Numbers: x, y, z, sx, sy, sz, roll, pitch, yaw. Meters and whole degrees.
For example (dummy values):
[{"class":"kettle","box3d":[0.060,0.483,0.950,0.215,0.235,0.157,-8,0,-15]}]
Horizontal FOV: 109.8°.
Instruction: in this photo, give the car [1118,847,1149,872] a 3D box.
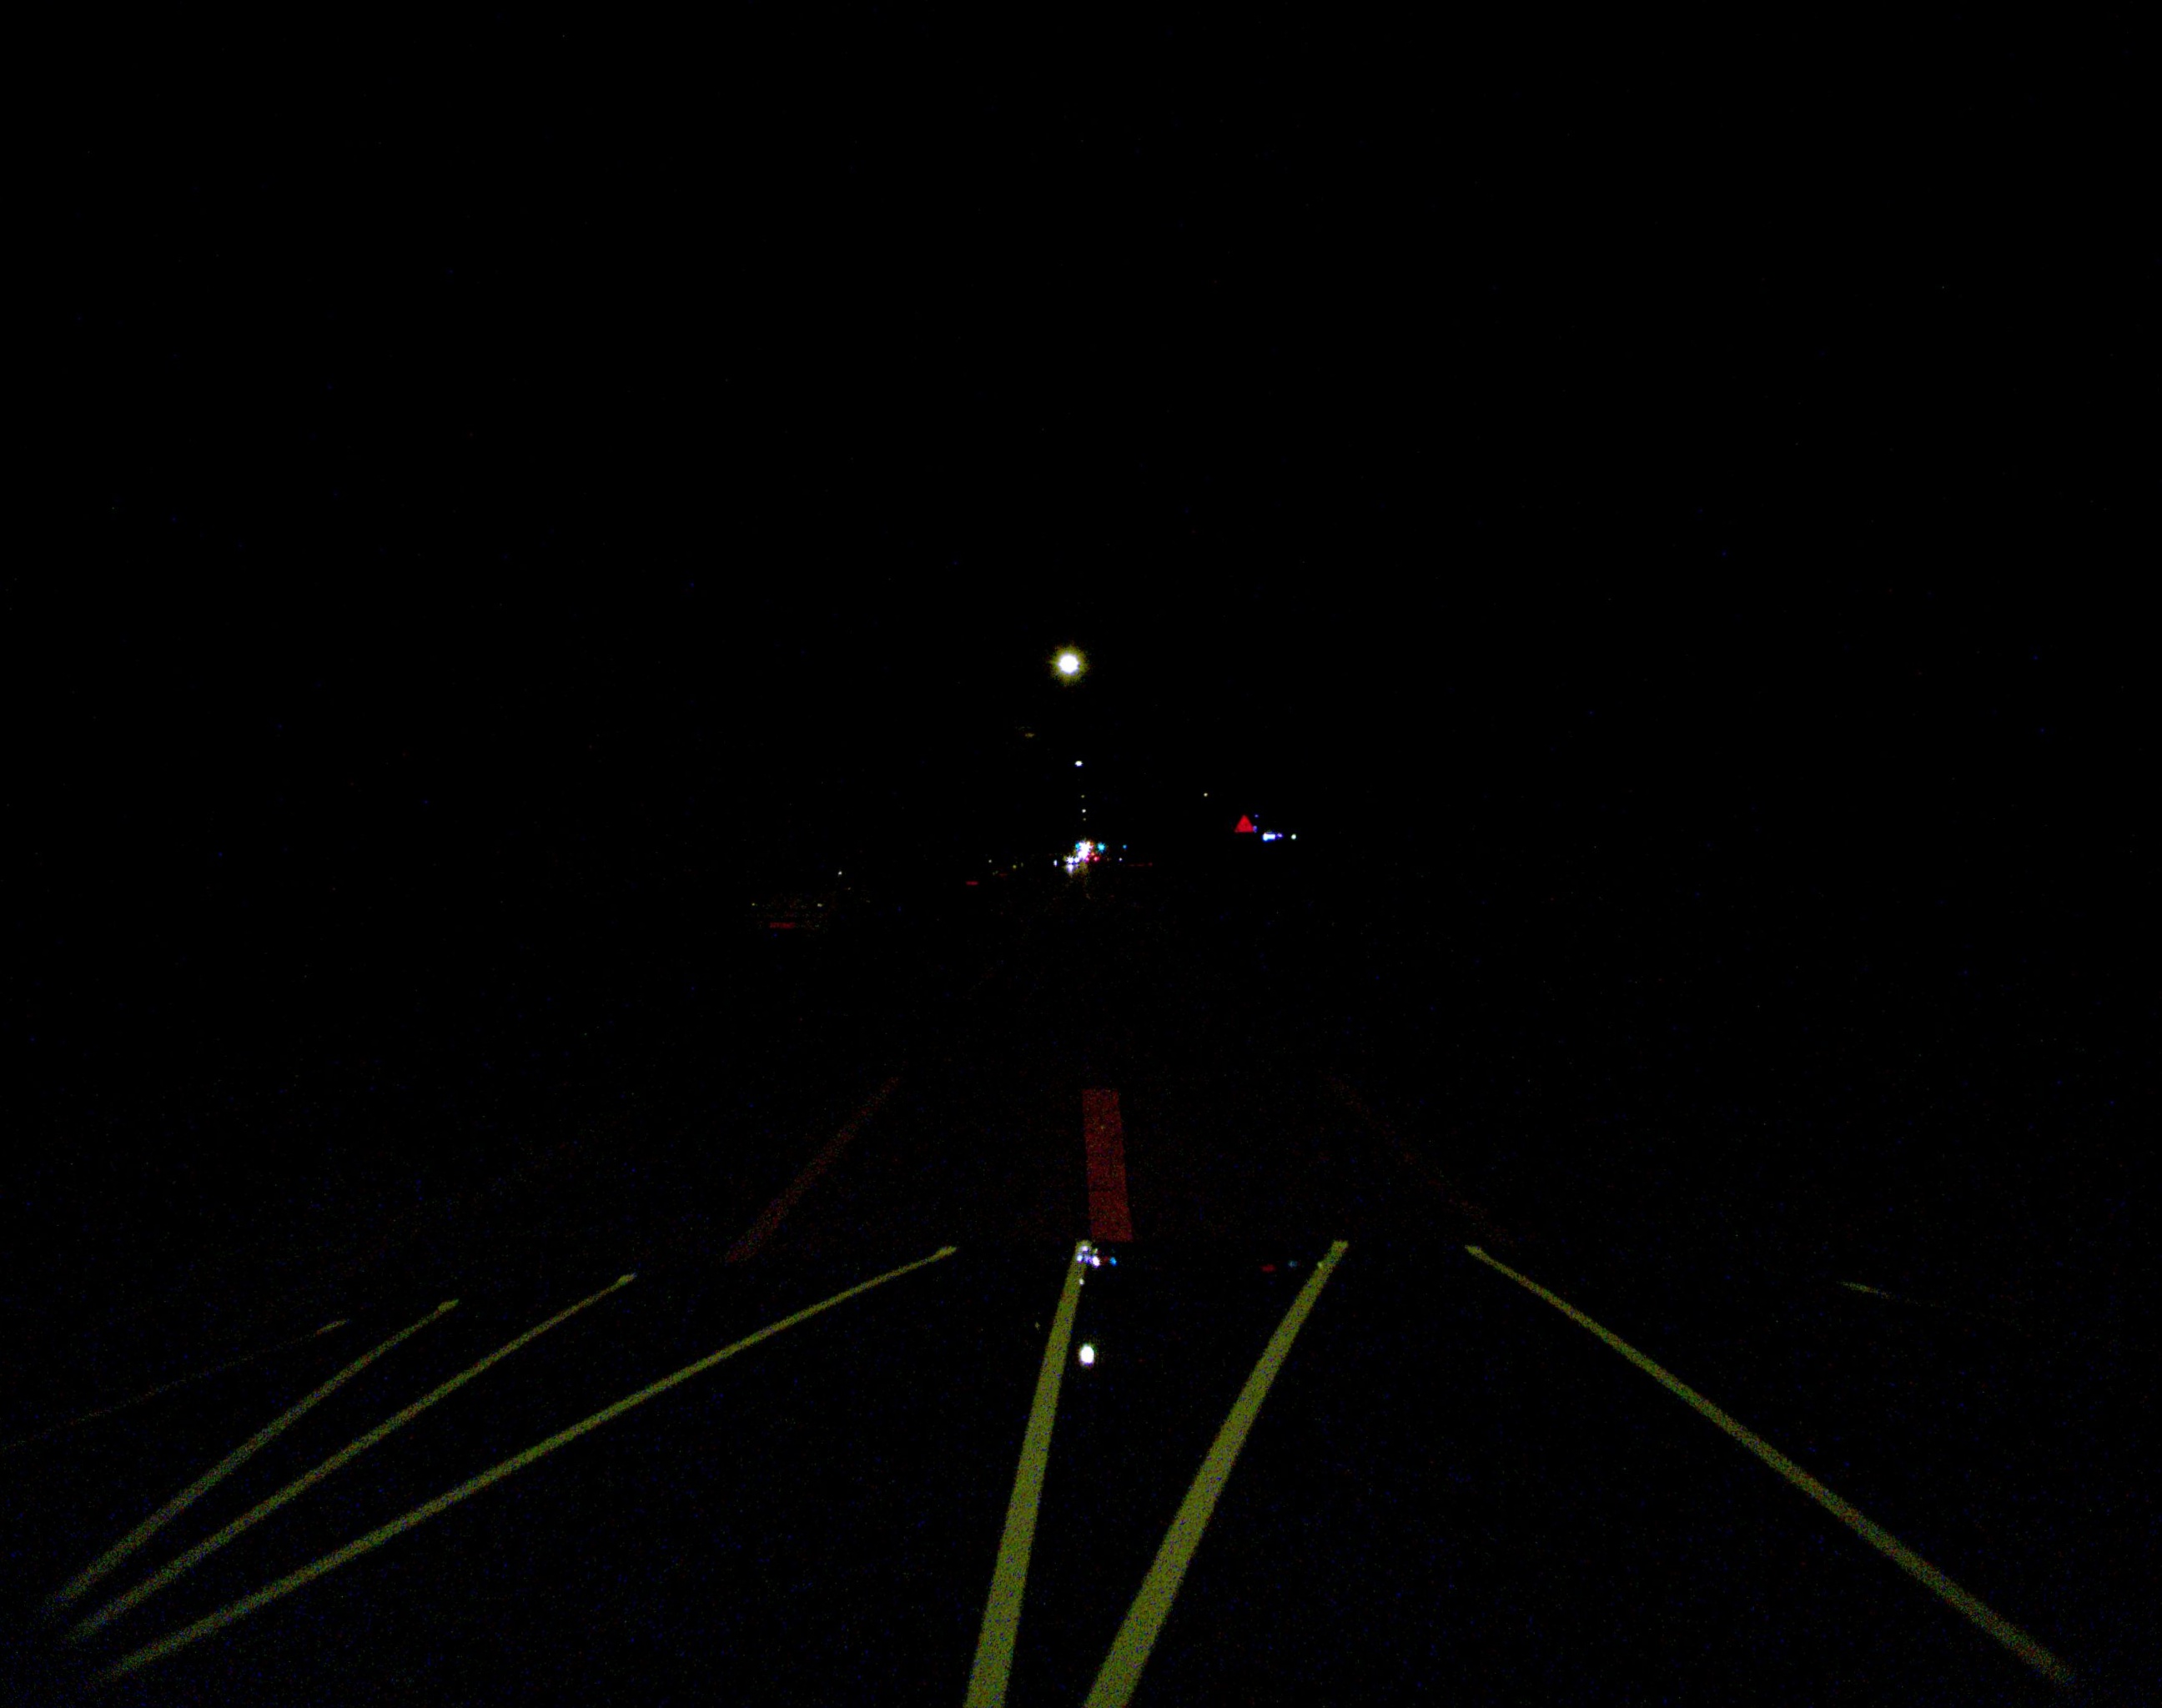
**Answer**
[{"class":"car","box3d":[3.890,0.371,57.055,1.998,1.772,3.999,-2,1,1]}]

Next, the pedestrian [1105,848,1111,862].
[{"class":"pedestrian","box3d":[4.240,0.155,118.128,0.804,2.002,0.940,-2,1,1]}]

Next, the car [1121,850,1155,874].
[{"class":"car","box3d":[3.892,0.514,52.071,1.998,1.477,3.999,-3,1,1]}]

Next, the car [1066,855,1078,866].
[{"class":"car","box3d":[-1.527,1.187,134.426,1.998,1.718,3.803,-2,1,1]}]

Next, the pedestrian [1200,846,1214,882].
[{"class":"pedestrian","box3d":[6.215,0.469,37.509,0.565,1.750,0.500,-2,1,1]}]

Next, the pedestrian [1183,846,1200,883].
[{"class":"pedestrian","box3d":[5.257,0.485,36.264,0.673,1.750,0.500,-2,1,1]}]

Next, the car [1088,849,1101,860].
[{"class":"car","box3d":[2.229,0.078,121.941,1.998,1.740,3.999,-2,1,1]}]

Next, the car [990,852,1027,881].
[{"class":"car","box3d":[-4.458,0.751,47.471,1.852,1.643,4.179,-2,0,0]}]

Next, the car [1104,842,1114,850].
[{"class":"car","box3d":[5.601,-1.598,153.865,1.903,1.581,3.661,-2,1,2]}]

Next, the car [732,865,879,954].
[{"class":"car","box3d":[-5.291,1.007,15.057,1.611,1.500,3.486,0,0,1]}]

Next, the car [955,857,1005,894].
[{"class":"car","box3d":[-4.468,0.904,33.938,1.742,1.489,3.890,-1,0,-1]}]

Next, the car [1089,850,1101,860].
[{"class":"car","box3d":[2.197,0.219,120.265,1.754,1.433,3.487,-2,-2,1]}]
